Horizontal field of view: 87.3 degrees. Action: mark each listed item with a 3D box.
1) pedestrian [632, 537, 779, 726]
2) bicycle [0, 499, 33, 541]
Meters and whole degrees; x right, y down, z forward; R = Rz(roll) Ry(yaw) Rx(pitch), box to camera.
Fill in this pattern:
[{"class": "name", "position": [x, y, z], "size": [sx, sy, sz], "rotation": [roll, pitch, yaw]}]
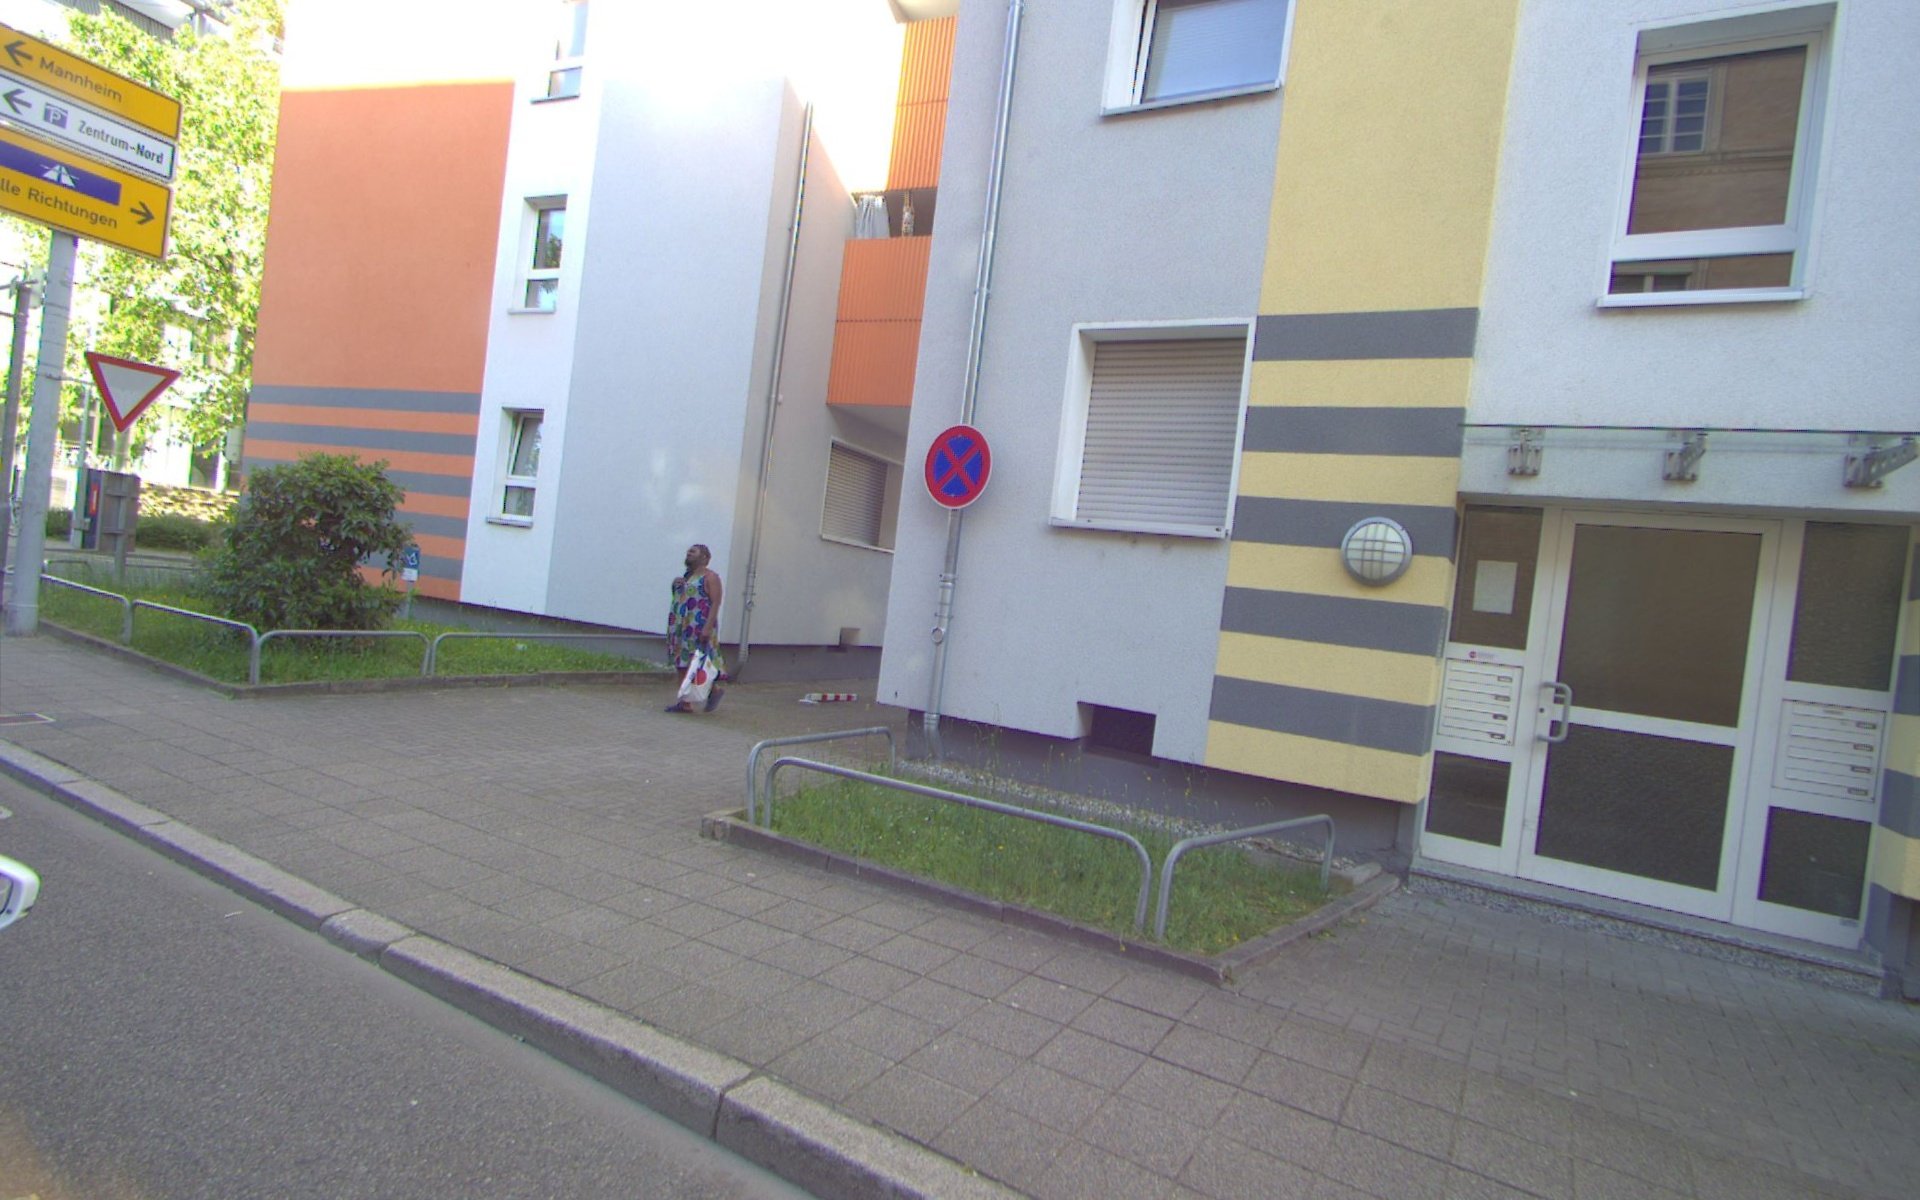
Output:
[{"class": "pedestrian", "position": [-2.369, 0.286, 9.354], "size": [0.942, 1.593, 0.747], "rotation": [9, 2, 38]}, {"class": "bicycle", "position": [-26.434, -2.254, 27.285], "size": [1.883, 1.062, 0.463], "rotation": [7, 1, -10]}]
